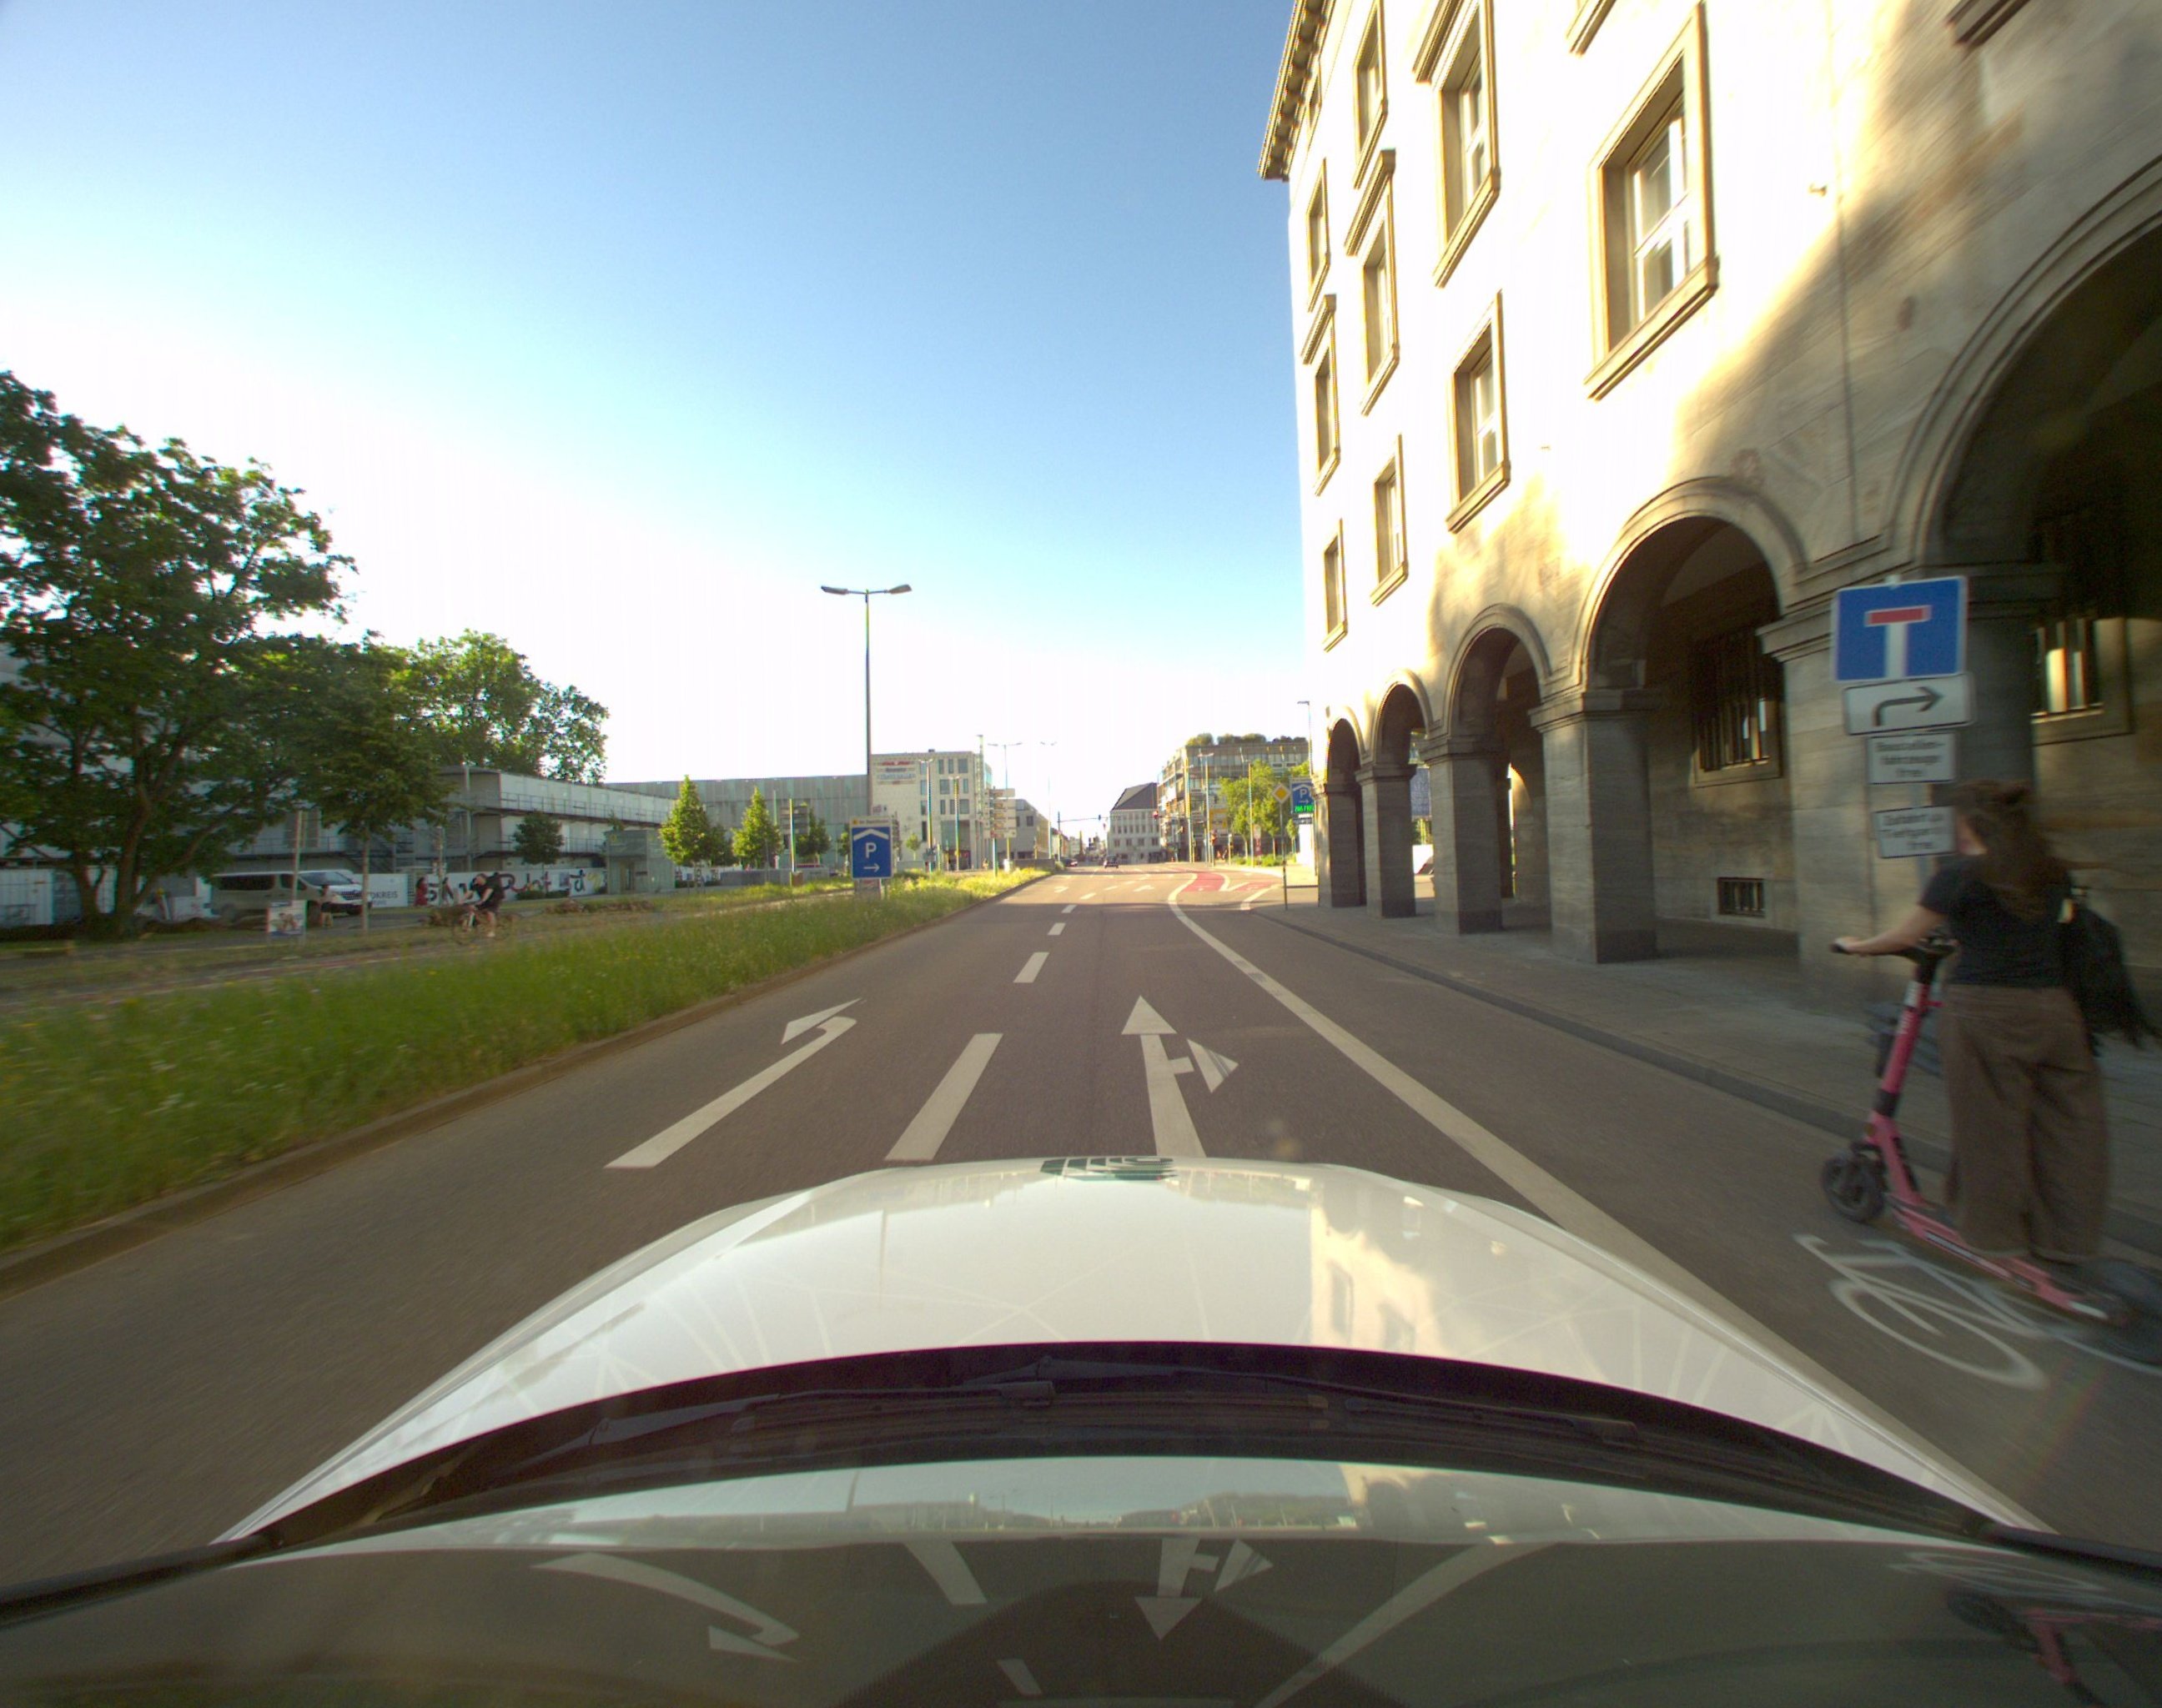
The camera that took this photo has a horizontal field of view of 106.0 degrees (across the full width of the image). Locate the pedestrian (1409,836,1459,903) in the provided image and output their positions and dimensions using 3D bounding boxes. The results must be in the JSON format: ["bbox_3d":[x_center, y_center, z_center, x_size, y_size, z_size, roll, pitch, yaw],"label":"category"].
[{"bbox_3d":[8.702,0.369,20.103,0.774,1.569,0.952,-2,0,0],"label":"pedestrian"}]

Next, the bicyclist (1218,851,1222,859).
[{"bbox_3d":[21.507,0.152,126.262,0.506,1.338,0.453,-2,-1,4],"label":"bicyclist"}]

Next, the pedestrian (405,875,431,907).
[{"bbox_3d":[-33.603,1.858,41.303,0.577,1.558,0.835,-2,0,0],"label":"pedestrian"}]

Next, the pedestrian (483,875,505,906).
[{"bbox_3d":[-33.853,2.096,46.946,0.577,1.688,0.835,-2,0,0],"label":"pedestrian"}]

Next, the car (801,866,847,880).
[{"bbox_3d":[-28.950,2.180,91.805,4.634,1.375,1.868,-3,-2,-6],"label":"car"}]

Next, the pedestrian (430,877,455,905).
[{"bbox_3d":[-32.738,1.897,41.748,0.577,1.378,0.835,-2,0,0],"label":"pedestrian"}]

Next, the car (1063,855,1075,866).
[{"bbox_3d":[-2.163,1.229,152.123,1.986,1.742,4.648,-2,1,2],"label":"car"}]

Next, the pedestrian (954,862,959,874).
[{"bbox_3d":[-21.471,2.433,140.458,0.622,2.013,0.515,-2,0,-7],"label":"pedestrian"}]

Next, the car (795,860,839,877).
[{"bbox_3d":[-31.037,1.701,95.848,4.634,1.810,1.868,-3,-2,-6],"label":"car"}]

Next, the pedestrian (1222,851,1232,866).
[{"bbox_3d":[16.993,0.501,94.768,0.814,1.748,1.047,-3,-1,23],"label":"pedestrian"}]

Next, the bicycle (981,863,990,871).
[{"bbox_3d":[-11.616,1.575,99.431,0.608,0.861,1.955,-2,0,7],"label":"bicycle"}]

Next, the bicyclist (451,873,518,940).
[{"bbox_3d":[-14.916,1.306,20.400,0.744,1.590,1.202,-3,-2,2],"label":"bicyclist"}]

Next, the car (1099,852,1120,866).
[{"bbox_3d":[3.343,0.629,95.325,1.775,1.564,3.779,-2,0,-8],"label":"car"}]

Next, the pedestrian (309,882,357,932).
[{"bbox_3d":[-24.476,1.723,26.670,0.609,1.527,0.944,-2,0,7],"label":"pedestrian"}]

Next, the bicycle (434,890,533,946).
[{"bbox_3d":[-14.908,1.561,20.410,0.755,1.275,2.259,-3,-2,2],"label":"bicycle"}]

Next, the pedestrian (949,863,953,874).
[{"bbox_3d":[-22.294,2.486,139.947,0.622,2.013,0.515,-2,0,-7],"label":"pedestrian"}]

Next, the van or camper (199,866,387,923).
[{"bbox_3d":[-32.290,1.653,33.483,5.640,2.014,2.259,-3,-2,3],"label":"van or camper"}]

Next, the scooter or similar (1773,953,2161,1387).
[{"bbox_3d":[3.149,0.929,2.766,0.554,1.031,1.115,-2,0,-6],"label":"scooter or similar"}]

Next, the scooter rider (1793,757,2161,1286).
[{"bbox_3d":[3.130,0.518,2.891,0.560,1.632,0.649,-2,-1,-5],"label":"scooter rider"}]

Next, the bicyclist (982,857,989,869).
[{"bbox_3d":[-11.640,1.088,99.350,0.604,1.489,0.682,-2,0,7],"label":"bicyclist"}]

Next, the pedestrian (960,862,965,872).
[{"bbox_3d":[-20.212,2.172,138.810,0.620,1.608,0.654,-2,0,1],"label":"pedestrian"}]
